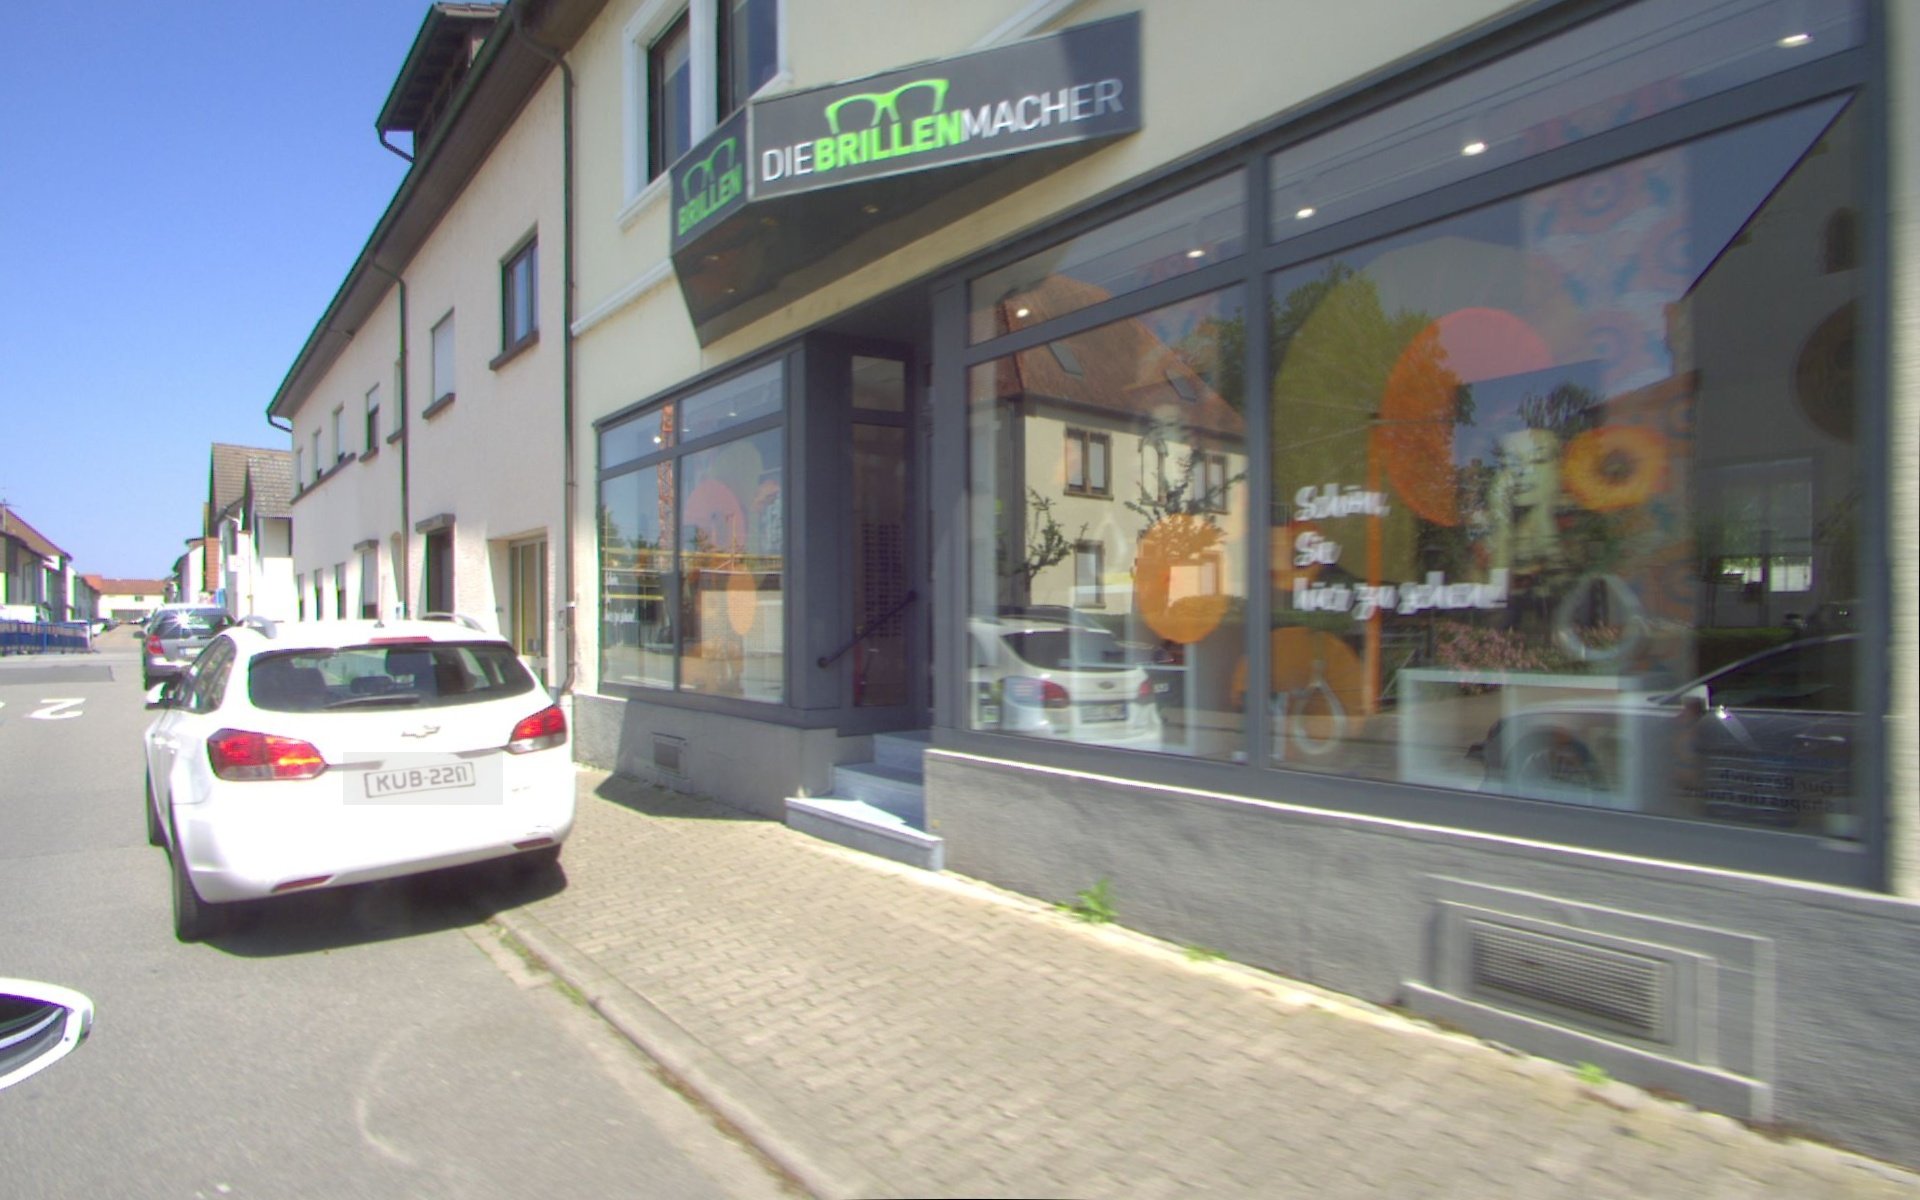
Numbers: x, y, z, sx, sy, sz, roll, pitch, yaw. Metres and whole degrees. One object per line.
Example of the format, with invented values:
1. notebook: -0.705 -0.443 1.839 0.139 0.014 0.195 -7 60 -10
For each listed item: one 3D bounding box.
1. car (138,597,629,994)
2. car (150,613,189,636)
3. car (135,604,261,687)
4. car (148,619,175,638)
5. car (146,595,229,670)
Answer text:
1. car: -3.785 0.805 6.160 1.872 1.562 4.205 1 -1 -41
2. car: -51.867 1.593 65.716 1.951 1.405 3.968 0 0 -38
3. car: -16.259 0.908 21.291 1.871 1.576 3.859 1 -1 -41
4. car: -61.667 2.170 77.273 1.543 1.405 3.420 0 0 -40
5. car: -19.523 0.753 25.261 1.551 1.635 3.511 0 2 -39
